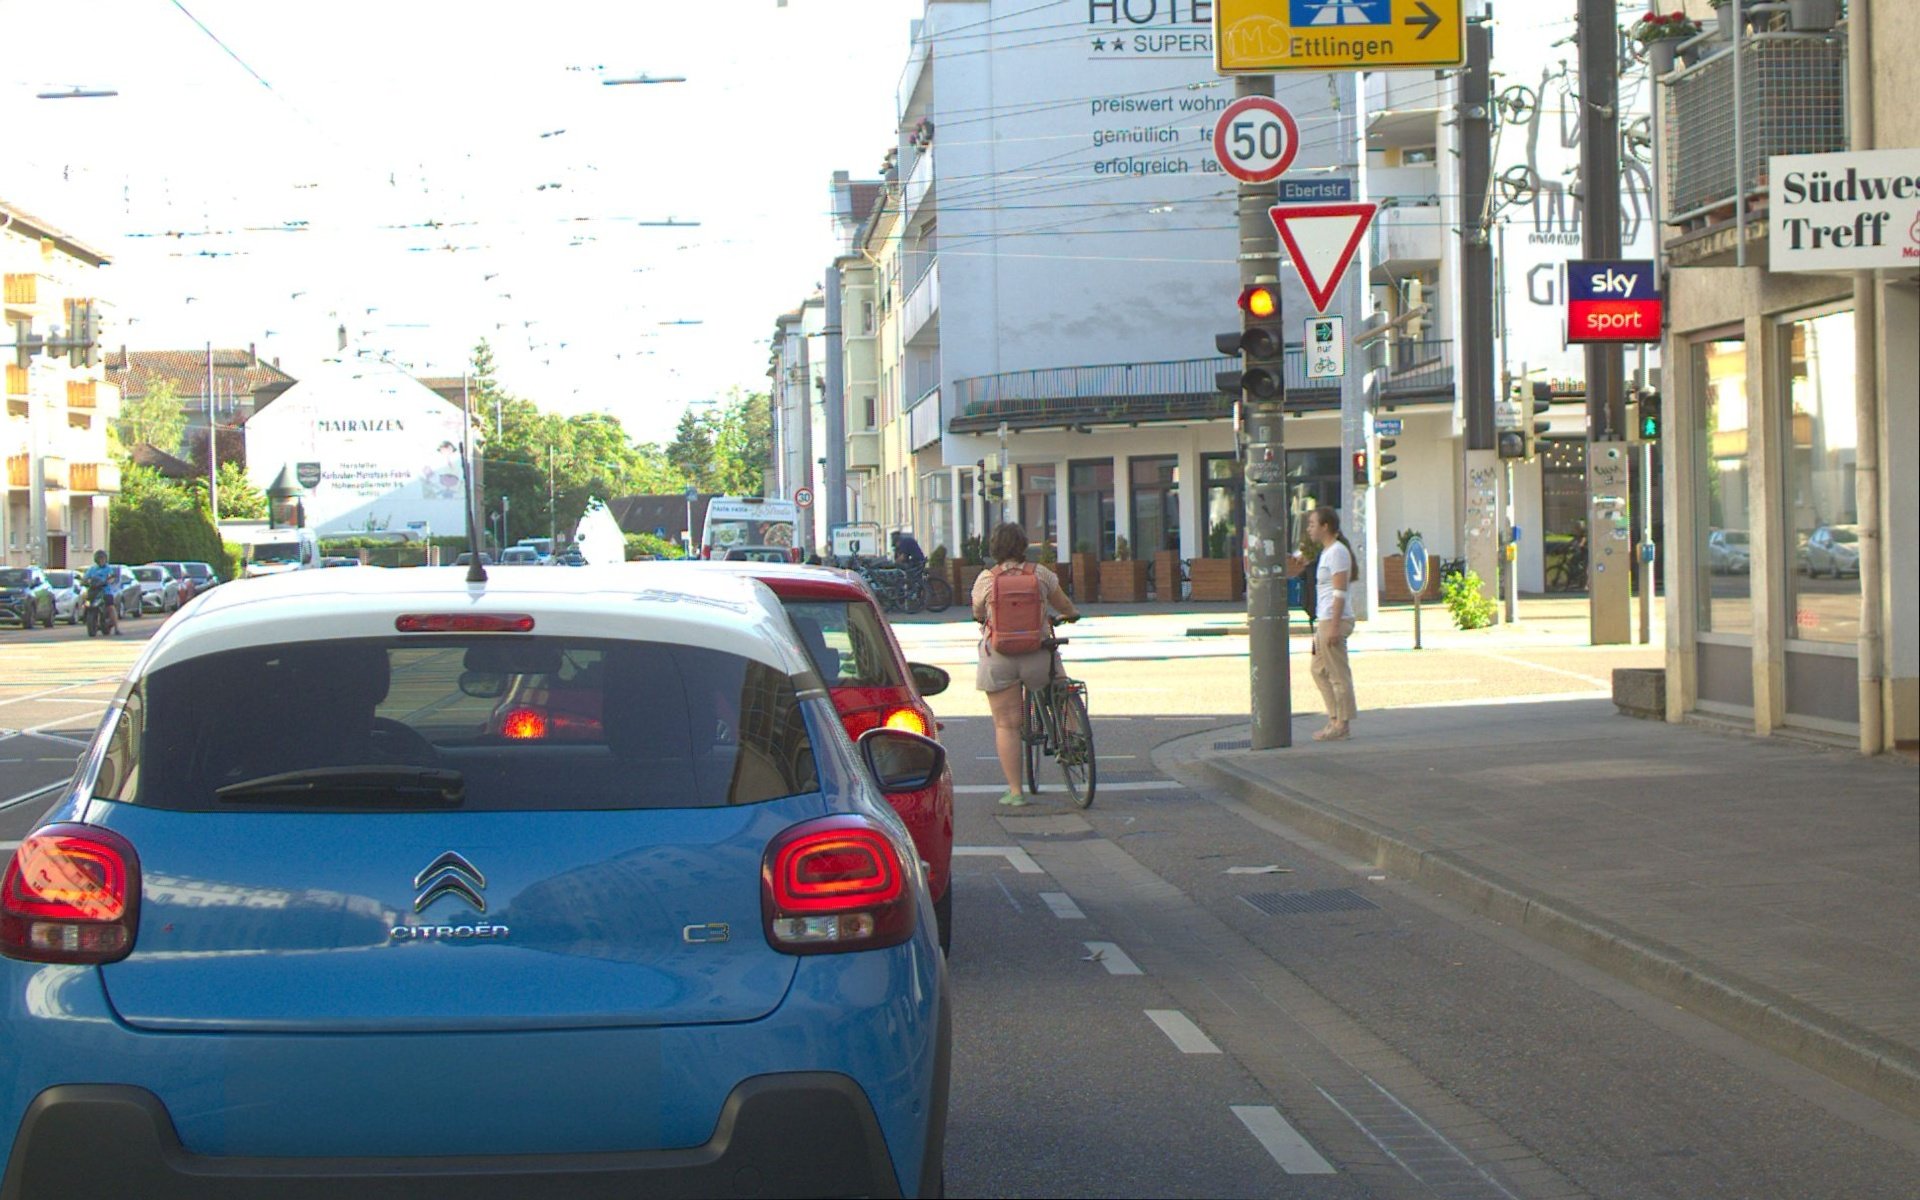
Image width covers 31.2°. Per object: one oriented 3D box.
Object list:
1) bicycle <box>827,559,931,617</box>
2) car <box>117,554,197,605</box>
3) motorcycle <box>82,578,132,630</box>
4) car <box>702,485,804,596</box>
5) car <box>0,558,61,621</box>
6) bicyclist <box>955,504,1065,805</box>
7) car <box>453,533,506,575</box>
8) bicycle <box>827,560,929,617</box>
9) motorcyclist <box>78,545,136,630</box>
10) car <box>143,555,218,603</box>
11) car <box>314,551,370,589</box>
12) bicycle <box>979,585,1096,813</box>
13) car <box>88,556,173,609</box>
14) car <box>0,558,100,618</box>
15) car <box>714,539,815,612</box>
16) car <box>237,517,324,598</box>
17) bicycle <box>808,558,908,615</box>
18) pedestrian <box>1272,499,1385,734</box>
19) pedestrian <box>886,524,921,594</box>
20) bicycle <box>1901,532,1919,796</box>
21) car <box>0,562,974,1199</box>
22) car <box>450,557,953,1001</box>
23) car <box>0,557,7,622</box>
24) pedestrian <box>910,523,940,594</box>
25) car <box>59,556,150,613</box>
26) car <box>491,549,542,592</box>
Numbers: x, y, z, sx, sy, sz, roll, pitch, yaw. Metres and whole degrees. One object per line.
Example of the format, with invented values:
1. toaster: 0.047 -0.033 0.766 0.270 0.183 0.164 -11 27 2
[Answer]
1. bicycle: -1.556 -0.240 65.814 1.904 1.061 0.642 -1 1 -7
2. car: -25.356 -0.673 108.657 1.950 1.514 4.001 -1 1 -6
3. motorcycle: -16.692 0.074 67.287 0.751 0.973 2.098 -1 1 -9
4. car: -4.430 -1.275 73.240 2.079 2.262 5.652 0 1 -4
5. car: -23.783 -0.268 85.890 1.950 1.514 4.001 -1 1 -6
6. bicyclist: 0.290 0.307 20.599 0.600 1.740 1.084 -1 1 -1
7. car: -19.418 -1.887 139.168 2.004 1.622 5.054 -1 1 -7
8. bicycle: -1.605 -0.234 67.120 1.904 1.061 0.642 -1 1 -7
9. motorcyclist: -16.673 -0.251 67.213 0.991 1.625 0.739 -1 1 -9
10. car: -26.065 -0.722 114.999 1.950 1.514 4.001 -1 1 -6
11. car: -25.972 -1.282 144.569 1.950 1.514 4.001 -1 1 -6
12. bicycle: 0.448 0.563 20.641 0.613 1.260 1.911 -1 1 -1
13. car: -24.923 -0.542 103.378 1.950 1.514 4.001 -1 1 -6
14. car: -24.303 -0.336 91.947 1.950 1.514 4.001 -1 1 -6
15. car: -3.880 -0.513 67.805 1.786 1.354 3.915 -1 1 -6
16. car: -23.658 -1.505 119.936 2.493 2.703 5.839 -1 1 -7
17. bicycle: -2.024 -0.272 68.312 1.904 1.061 0.642 -1 1 -7
18. pedestrian: 2.608 0.111 24.374 0.751 1.629 0.740 -1 1 6
19. pedestrian: -1.151 -0.843 70.258 0.525 1.415 0.546 -1 1 20
20. bicycle: 4.914 0.317 15.752 0.640 1.260 1.911 -1 1 -1
21. car: -0.959 0.673 7.375 1.680 1.457 4.001 0 1 -4
22. car: -1.006 0.581 13.584 1.680 1.457 4.001 0 1 -4
23. car: -23.319 -0.194 79.225 1.950 1.514 4.001 -1 1 -6
24. pedestrian: -0.718 -0.846 70.006 0.467 1.415 0.527 -1 1 -13
25. car: -24.456 -0.458 98.374 1.950 1.514 4.001 -1 1 -6
26. car: -22.040 -1.502 170.841 2.338 2.032 5.051 -1 1 -6
